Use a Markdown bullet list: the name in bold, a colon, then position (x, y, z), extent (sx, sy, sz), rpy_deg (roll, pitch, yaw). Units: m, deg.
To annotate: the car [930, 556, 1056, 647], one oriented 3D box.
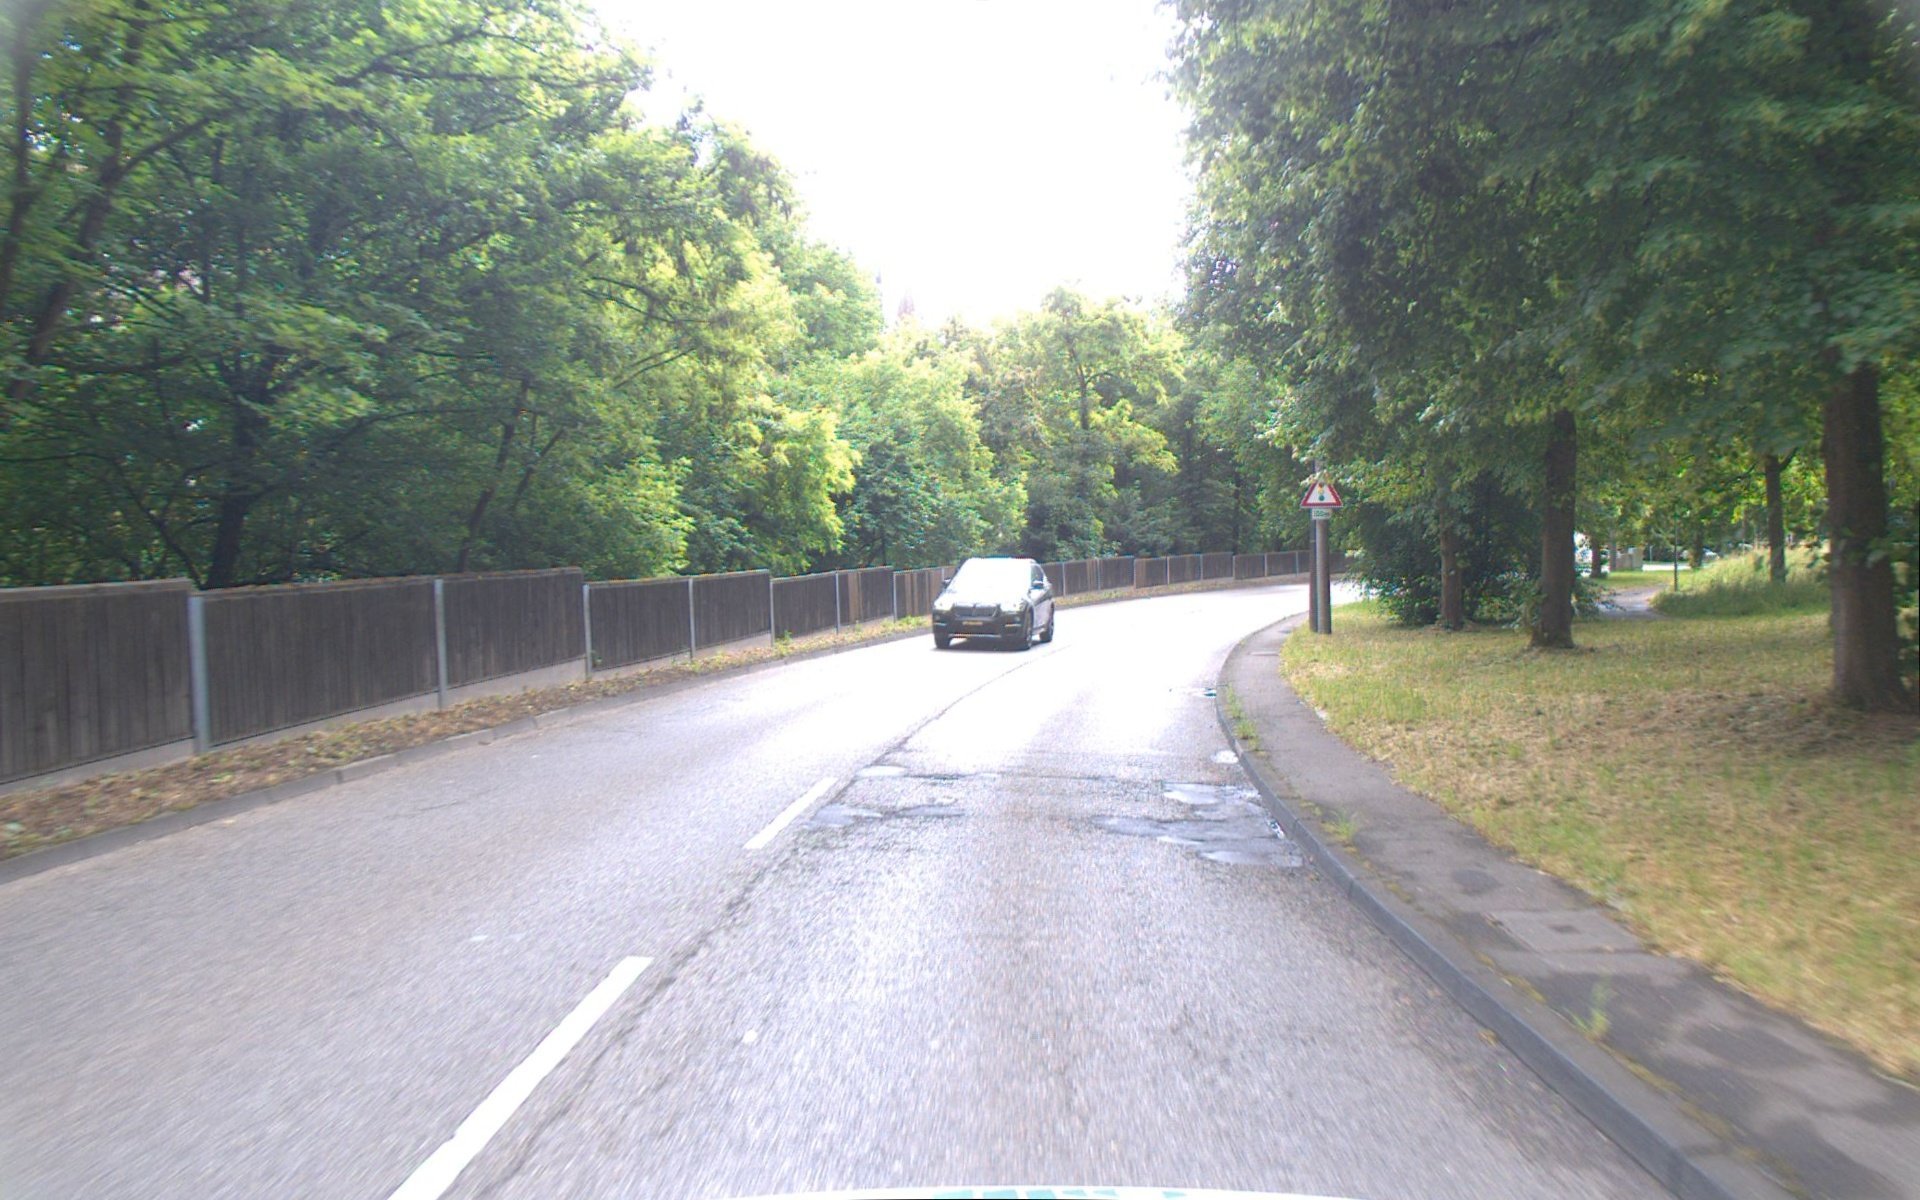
- **car**: position (0.696, -0.018, 31.515), extent (1.806, 1.591, 4.237), rpy_deg (1, 1, 9)
